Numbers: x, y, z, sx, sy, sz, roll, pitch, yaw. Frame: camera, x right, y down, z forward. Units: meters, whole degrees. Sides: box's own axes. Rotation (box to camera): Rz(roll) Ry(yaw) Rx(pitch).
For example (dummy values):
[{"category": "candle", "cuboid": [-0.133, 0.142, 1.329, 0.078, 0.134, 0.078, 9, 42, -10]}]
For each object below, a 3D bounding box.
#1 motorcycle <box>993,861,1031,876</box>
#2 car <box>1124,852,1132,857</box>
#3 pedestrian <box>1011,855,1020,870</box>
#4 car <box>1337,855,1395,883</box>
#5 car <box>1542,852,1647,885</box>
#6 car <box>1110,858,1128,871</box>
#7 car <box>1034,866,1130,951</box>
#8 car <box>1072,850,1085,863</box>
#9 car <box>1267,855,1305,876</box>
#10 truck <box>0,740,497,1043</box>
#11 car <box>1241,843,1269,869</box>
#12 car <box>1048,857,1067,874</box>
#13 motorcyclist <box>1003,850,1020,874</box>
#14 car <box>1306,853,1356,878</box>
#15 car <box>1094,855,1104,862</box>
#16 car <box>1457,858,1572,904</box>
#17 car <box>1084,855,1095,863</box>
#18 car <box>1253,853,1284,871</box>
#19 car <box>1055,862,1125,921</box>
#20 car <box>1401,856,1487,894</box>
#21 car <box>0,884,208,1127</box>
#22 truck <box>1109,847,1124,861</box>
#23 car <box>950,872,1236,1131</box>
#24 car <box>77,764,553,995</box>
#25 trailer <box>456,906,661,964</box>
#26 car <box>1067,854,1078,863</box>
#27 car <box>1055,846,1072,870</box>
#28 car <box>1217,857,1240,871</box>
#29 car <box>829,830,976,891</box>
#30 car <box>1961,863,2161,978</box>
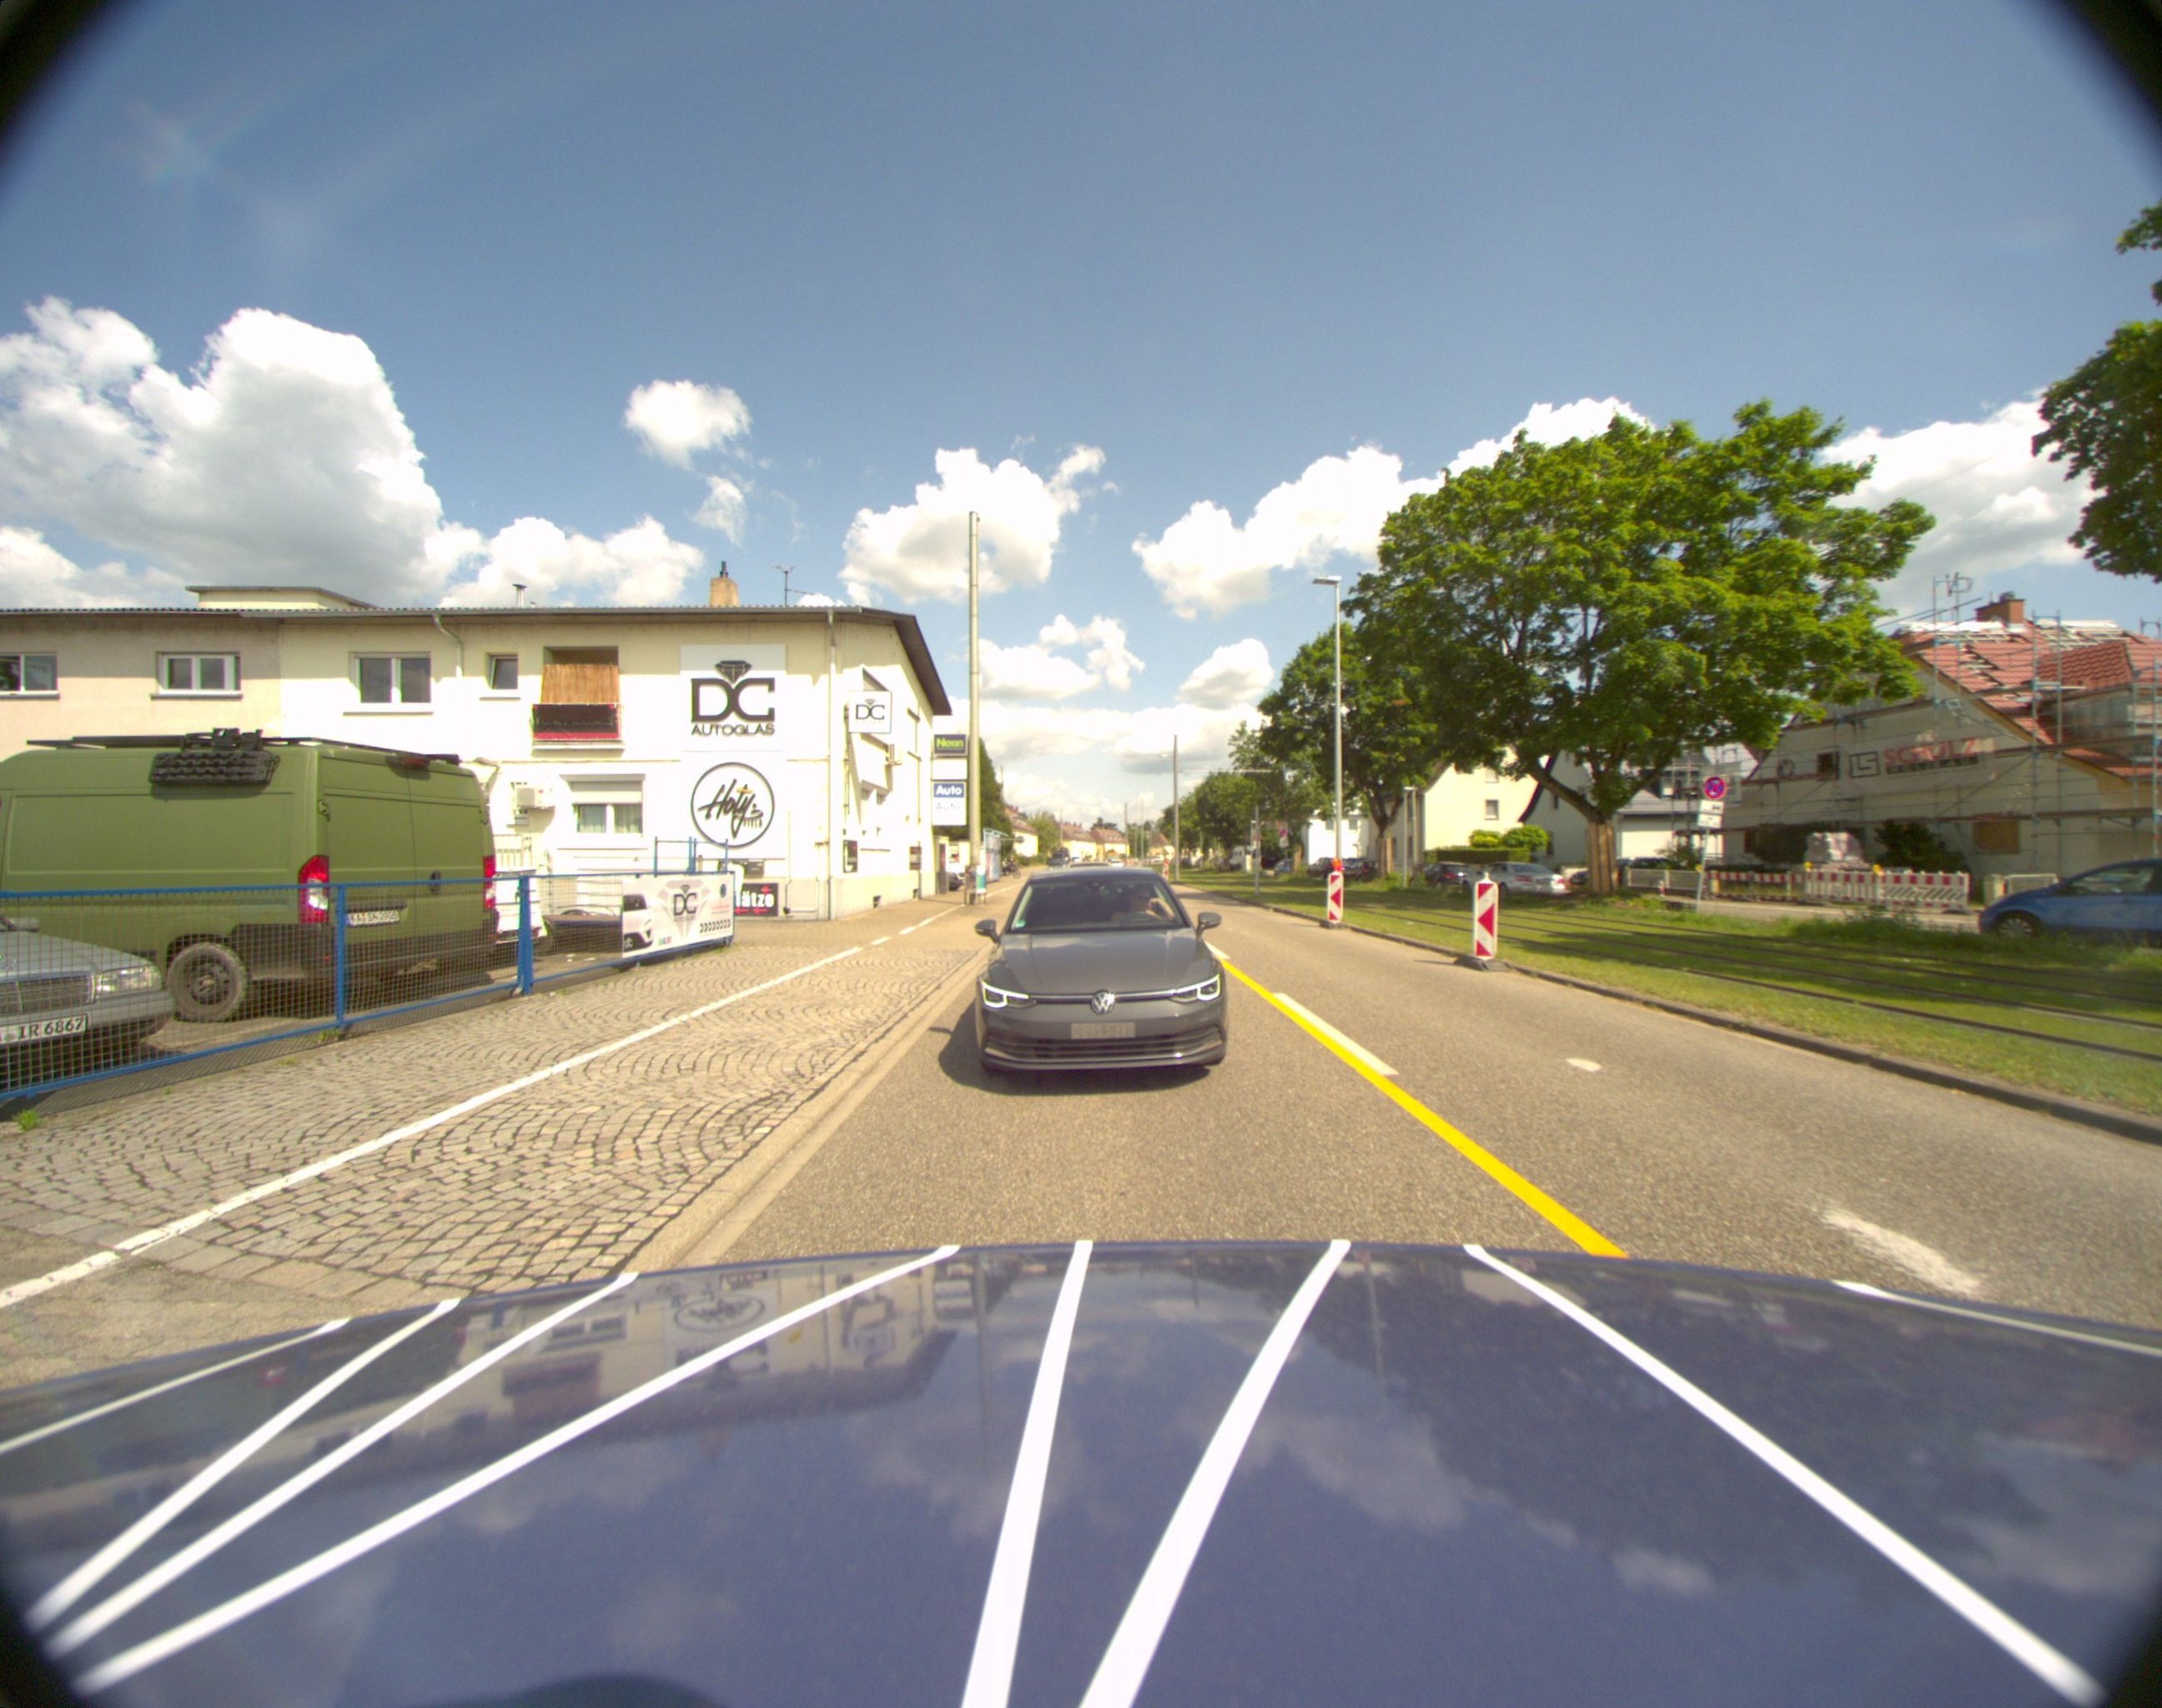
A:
[{"category": "motorcycle", "cuboid": [-5.581, 1.163, 61.642, 2.896, 1.164, 0.887, 0, 0, 15]}, {"category": "car", "cuboid": [13.527, 0.234, 218.481, 1.718, 1.470, 4.013, 0, 0, 13]}, {"category": "pedestrian", "cuboid": [-6.703, 0.846, 77.215, 0.816, 1.577, 0.918, 0, 0, 1]}, {"category": "car", "cuboid": [16.900, 0.852, 45.272, 1.755, 1.602, 4.606, 0, 0, 0]}, {"category": "car", "cuboid": [25.511, 0.722, 37.837, 4.047, 1.602, 1.757, 0, 0, 1]}, {"category": "car", "cuboid": [4.046, 1.089, 81.194, 1.719, 1.405, 4.262, 0, 0, 1]}, {"category": "car", "cuboid": [0.038, 1.006, 15.647, 1.719, 1.470, 4.009, 0, 0, 1]}, {"category": "car", "cuboid": [-0.431, 0.398, 136.326, 1.719, 2.360, 5.211, 0, 0, 5]}, {"category": "car", "cuboid": [16.494, 0.918, 61.361, 1.755, 1.602, 4.606, 0, 0, 0]}, {"category": "truck", "cuboid": [-8.622, 0.328, 7.570, 3.997, 2.592, 2.069, 0, 0, 1]}, {"category": "car", "cuboid": [17.644, 0.198, 77.074, 1.755, 2.601, 4.606, 0, 0, 0]}, {"category": "car", "cuboid": [-2.161, 1.065, 70.990, 1.720, 1.470, 4.009, 0, 0, 0]}, {"category": "motorcyclist", "cuboid": [-5.637, 0.628, 61.660, 1.111, 1.900, 0.880, 0, 0, 14]}, {"category": "car", "cuboid": [16.678, 0.765, 50.911, 1.755, 1.602, 4.606, 0, 0, 0]}, {"category": "car", "cuboid": [4.102, 0.994, 172.740, 1.718, 1.470, 4.011, 0, 0, 8]}, {"category": "car", "cuboid": [16.389, 0.966, 29.011, 1.755, 1.602, 4.606, 0, 0, 0]}, {"category": "car", "cuboid": [1.812, 0.987, 155.306, 1.718, 1.470, 4.011, 0, 0, 8]}, {"category": "car", "cuboid": [17.583, 0.757, 71.500, 1.755, 1.602, 4.606, 0, 0, 0]}, {"category": "car", "cuboid": [0.261, 0.988, 21.496, 1.787, 1.470, 4.009, 0, 0, 1]}, {"category": "car", "cuboid": [16.590, 0.918, 35.034, 1.755, 1.602, 4.606, 0, 0, 0]}, {"category": "car", "cuboid": [-8.436, 0.917, 4.813, 4.206, 1.388, 1.804, 0, 0, 8]}, {"category": "truck", "cuboid": [9.402, 0.021, 201.139, 2.590, 3.431, 8.585, 0, 0, 11]}, {"category": "car", "cuboid": [0.100, 0.938, 6.576, 1.719, 1.470, 4.009, 0, 0, 1]}, {"category": "car", "cuboid": [-9.454, 0.301, 9.655, 4.209, 2.653, 1.803, 0, 0, 0]}, {"category": "trailer", "cuboid": [-8.061, 1.237, 11.840, 2.329, 0.762, 1.269, 0, 0, 2]}, {"category": "car", "cuboid": [-1.367, 0.737, 122.962, 1.720, 1.470, 4.009, 0, 0, 0]}, {"category": "car", "cuboid": [-1.919, 0.410, 82.852, 1.720, 2.526, 5.794, 0, 0, 0]}, {"category": "car", "cuboid": [16.931, 1.153, 87.274, 1.755, 1.602, 4.606, 0, 0, 0]}, {"category": "car", "cuboid": [-7.890, 0.286, 33.915, 5.982, 2.362, 2.000, 3, 0, 3]}, {"category": "car", "cuboid": [16.247, 0.960, 11.237, 1.755, 1.602, 4.050, 0, 0, 0]}]
